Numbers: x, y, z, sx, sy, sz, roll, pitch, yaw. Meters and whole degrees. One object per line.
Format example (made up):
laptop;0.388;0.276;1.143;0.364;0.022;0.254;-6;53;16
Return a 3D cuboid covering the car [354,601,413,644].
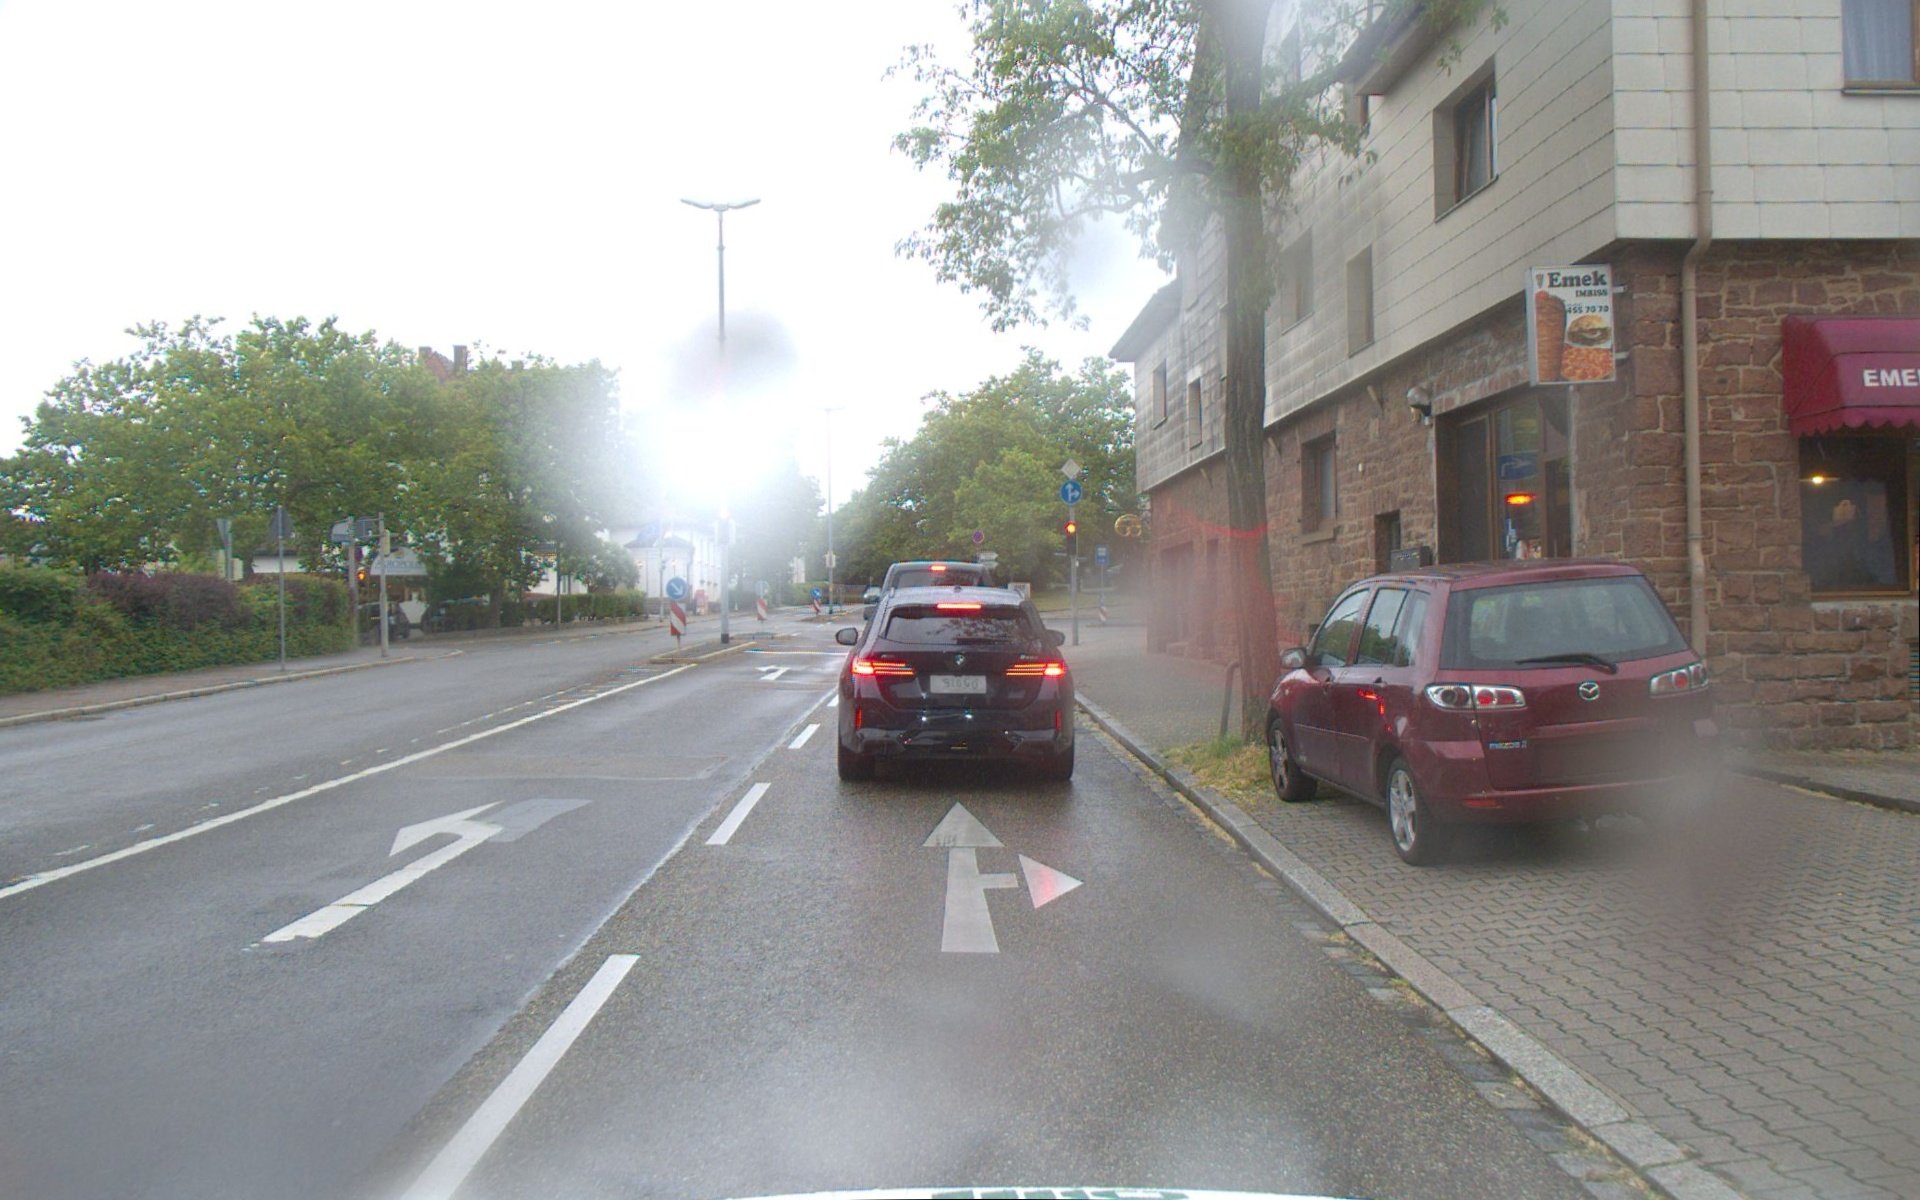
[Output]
car;-22.394;0.845;64.184;1.966;1.579;3.973;0;1;-22

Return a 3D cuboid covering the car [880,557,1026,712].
car;-0.178;0.397;21.852;1.748;1.849;3.998;0;1;-3

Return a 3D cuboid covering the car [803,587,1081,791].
car;-0.241;0.647;14.320;2.023;1.472;4.480;1;0;-3

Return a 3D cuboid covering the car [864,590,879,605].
car;-8.678;-0.219;162.435;1.435;1.422;3.320;0;1;-1

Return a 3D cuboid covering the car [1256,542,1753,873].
car;2.990;0.491;9.889;1.552;1.516;3.625;-4;1;-3
